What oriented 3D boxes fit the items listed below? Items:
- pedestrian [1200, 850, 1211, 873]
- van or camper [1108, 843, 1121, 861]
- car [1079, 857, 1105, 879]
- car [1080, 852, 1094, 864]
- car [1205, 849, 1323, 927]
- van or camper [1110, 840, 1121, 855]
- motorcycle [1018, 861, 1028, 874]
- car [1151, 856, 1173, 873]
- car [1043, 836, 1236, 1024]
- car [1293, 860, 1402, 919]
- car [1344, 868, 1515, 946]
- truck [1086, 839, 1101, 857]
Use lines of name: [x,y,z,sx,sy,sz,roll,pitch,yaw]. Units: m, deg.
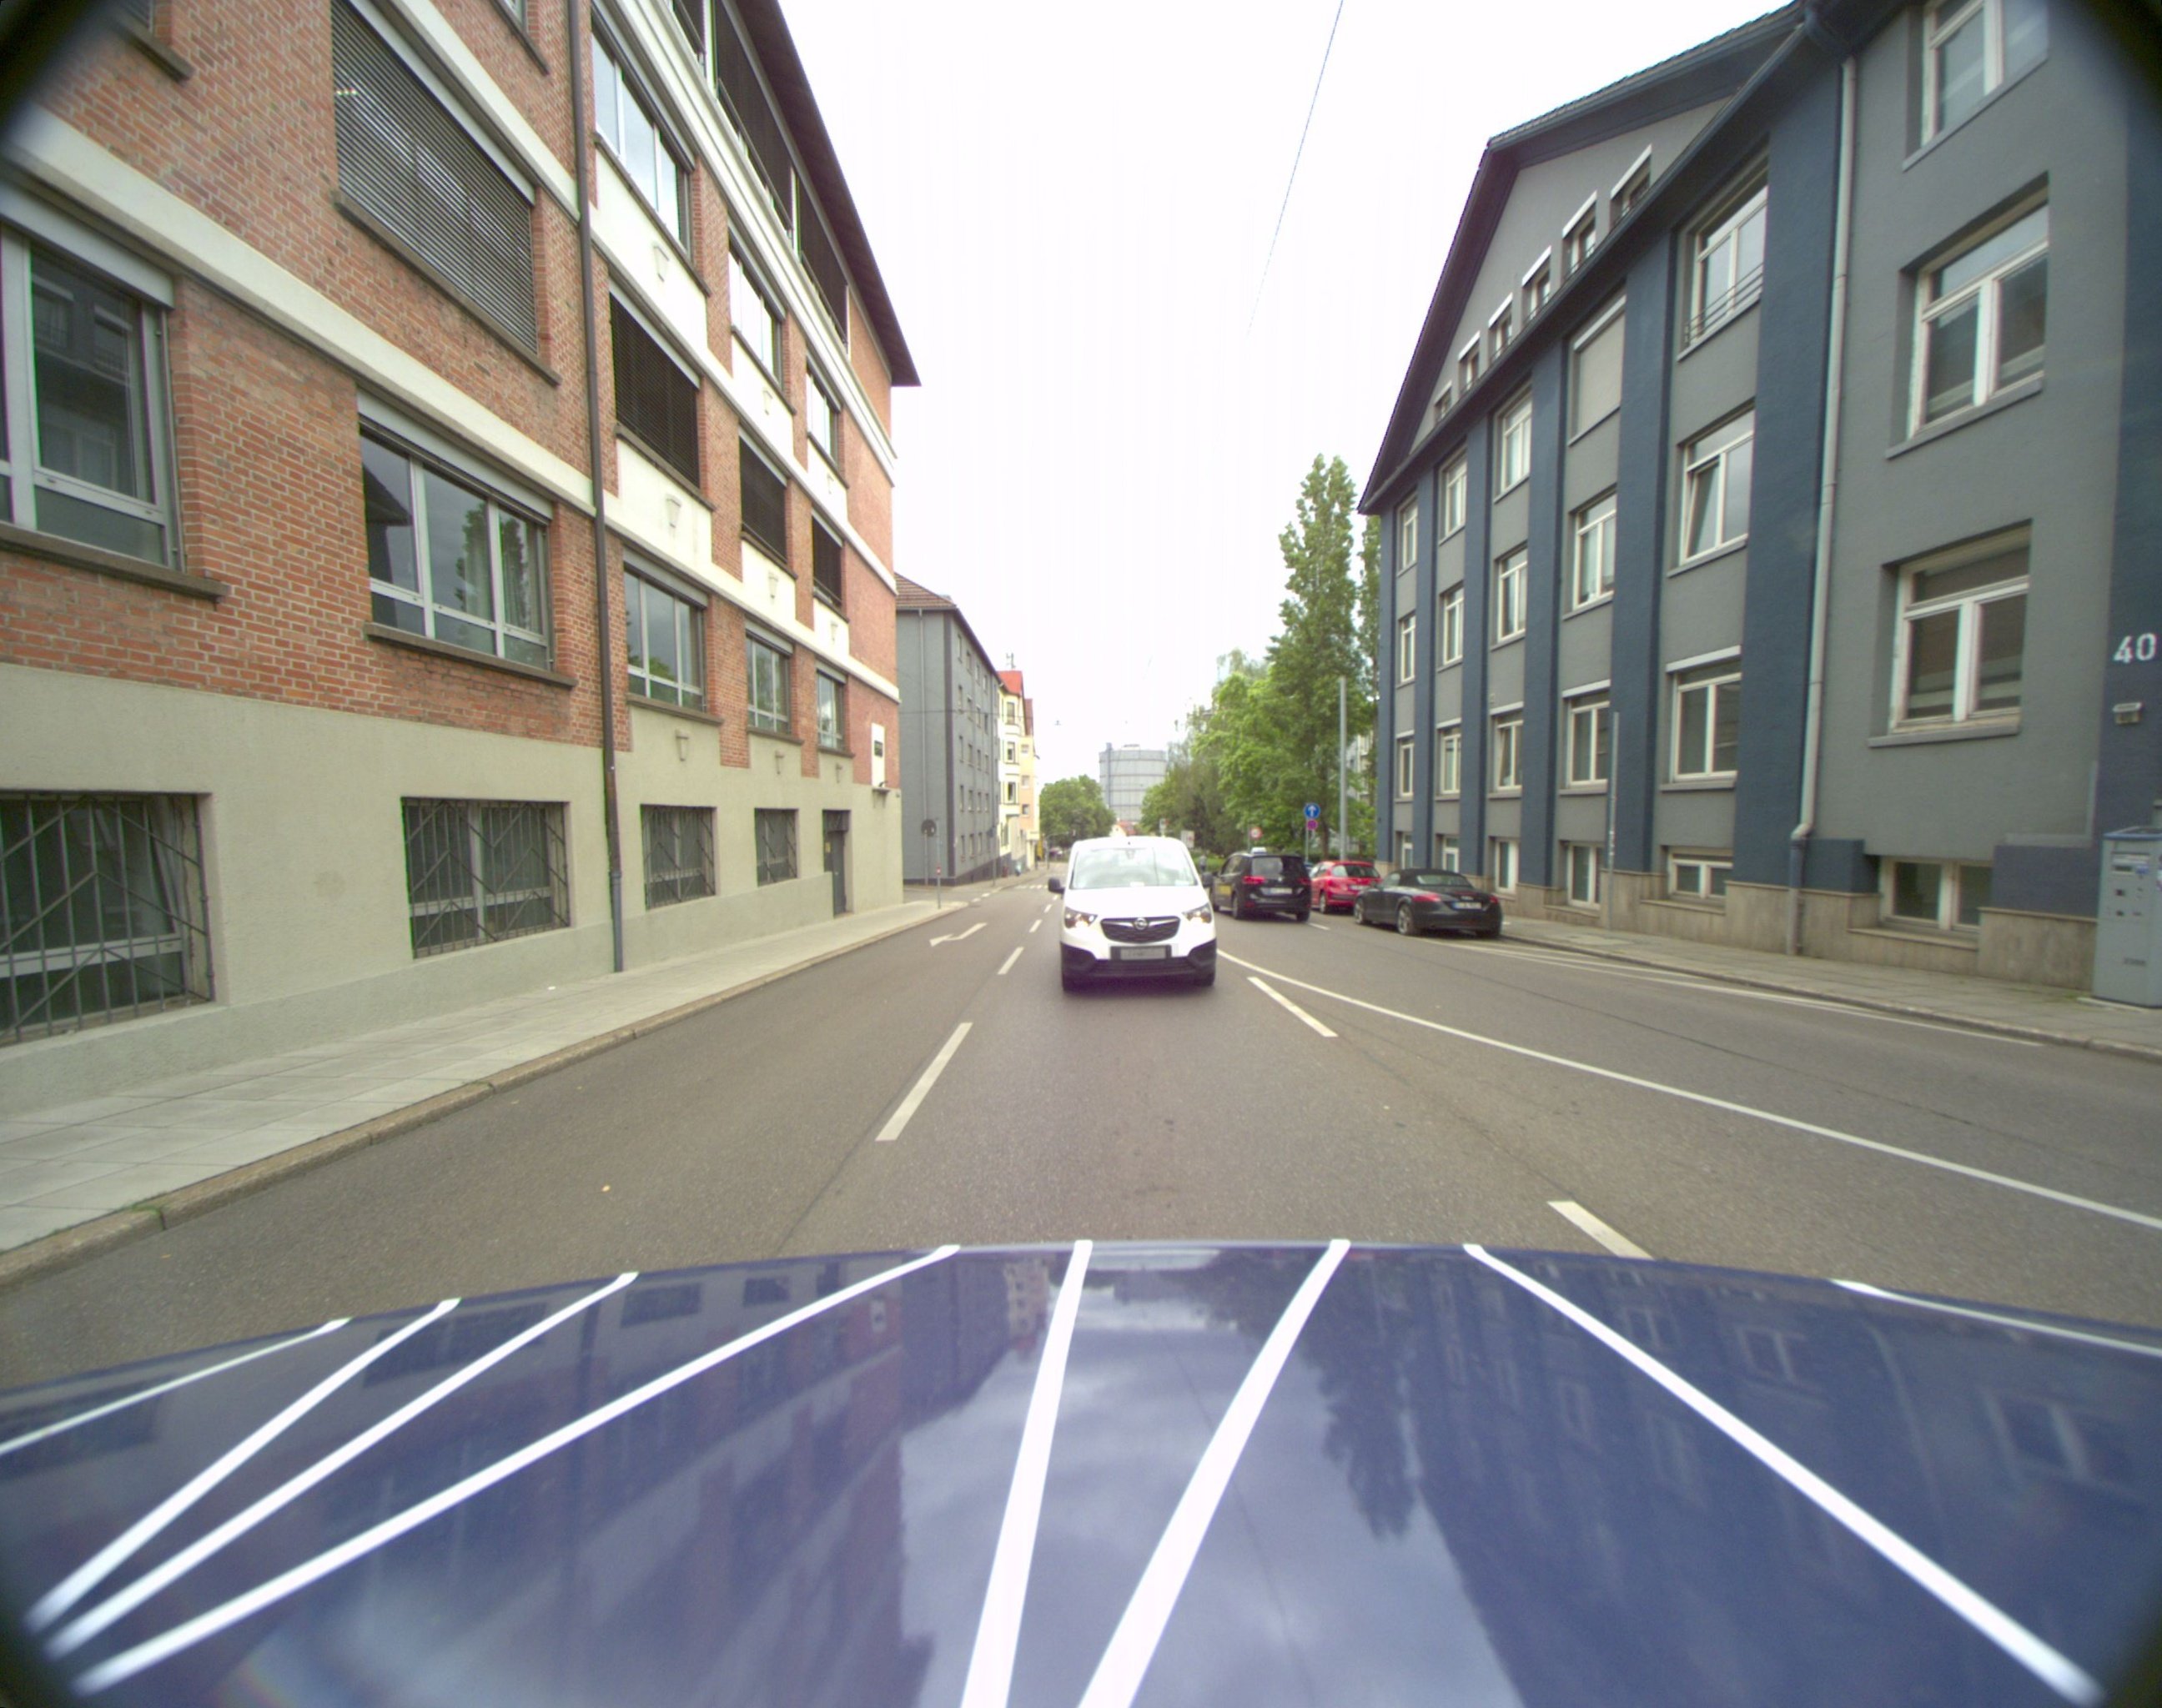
pedestrian: [9.854,0.605,60.223,0.746,1.839,0.776,-1,1,2]
van or camper: [5.159,-0.270,117.402,1.914,2.754,5.925,1,0,2]
car: [0.767,0.936,52.563,1.724,1.486,3.727,1,0,2]
car: [0.757,0.454,96.500,1.724,1.486,3.727,1,0,2]
car: [4.474,0.753,19.278,1.788,1.697,4.305,2,0,-2]
van or camper: [6.666,-1.237,147.189,1.914,2.754,5.925,1,0,2]
motorcycle: [-5.018,1.144,65.963,0.566,1.105,1.653,4,0,2]
car: [7.429,0.937,69.763,1.724,1.475,3.727,1,0,2]
car: [0.628,0.747,9.975,1.840,1.797,4.939,-2,0,1]
car: [7.495,0.946,21.772,1.819,1.465,3.869,2,0,2]
car: [7.137,1.013,16.052,1.724,1.319,4.041,2,0,0]
truck: [2.642,-1.224,157.485,2.980,3.394,9.358,-2,0,1]
